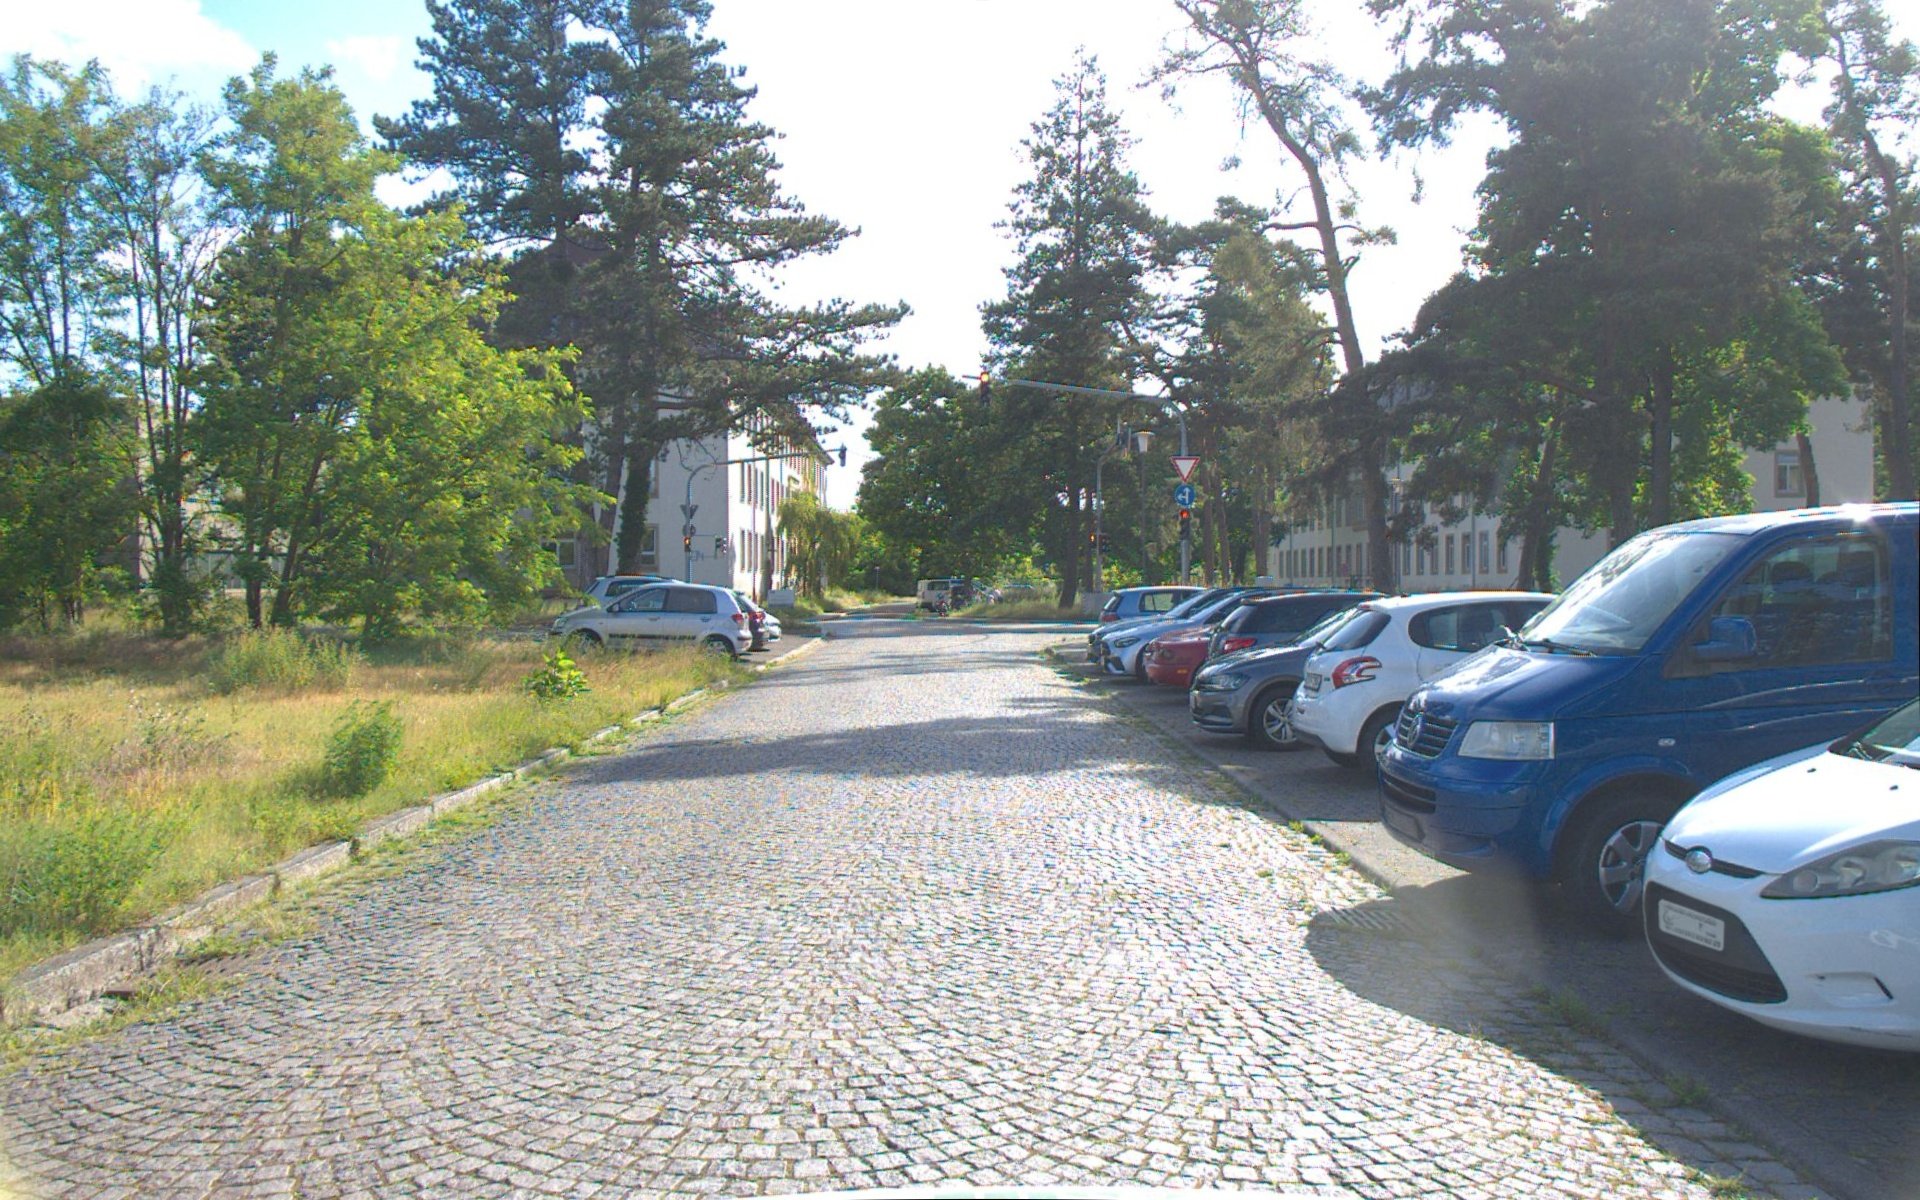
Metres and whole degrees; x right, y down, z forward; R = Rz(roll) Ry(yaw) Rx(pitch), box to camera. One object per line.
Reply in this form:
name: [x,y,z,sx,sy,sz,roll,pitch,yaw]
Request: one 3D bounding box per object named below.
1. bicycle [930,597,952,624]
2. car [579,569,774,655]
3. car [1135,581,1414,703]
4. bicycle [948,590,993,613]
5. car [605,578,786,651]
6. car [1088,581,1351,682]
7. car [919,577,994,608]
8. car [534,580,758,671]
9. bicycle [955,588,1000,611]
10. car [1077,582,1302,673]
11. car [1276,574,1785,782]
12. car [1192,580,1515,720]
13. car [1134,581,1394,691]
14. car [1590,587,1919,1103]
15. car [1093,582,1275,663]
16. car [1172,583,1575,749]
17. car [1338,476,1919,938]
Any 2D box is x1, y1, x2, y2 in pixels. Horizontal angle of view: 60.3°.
bicycle: [-0.902,0.478,77.620,0.789,1.190,2.177,-2,1,-7]
car: [-6.215,0.247,36.605,3.907,1.629,2.000,3,0,-2]
car: [4.161,0.525,22.222,3.408,1.556,1.645,0,1,-2]
bicycle: [0.518,0.066,81.104,2.134,1.119,0.805,0,0,-11]
car: [-6.182,0.326,39.007,3.906,1.478,2.000,3,1,-2]
car: [4.147,0.477,26.762,3.955,1.556,1.644,0,1,-5]
car: [-0.237,-0.449,98.561,4.390,1.758,2.000,0,0,-2]
car: [-5.858,0.449,31.223,3.908,1.628,1.999,0,1,-4]
bicycle: [0.857,-0.034,82.263,2.134,1.119,0.805,0,0,-11]
car: [4.055,0.472,29.532,3.758,1.556,1.645,0,1,-2]
car: [4.613,0.598,13.732,3.619,1.491,1.645,-2,0,0]
car: [4.575,0.555,19.538,3.408,1.556,1.645,0,1,-2]
car: [4.463,0.500,24.585,3.530,1.556,1.645,0,1,-2]
car: [4.374,0.706,5.872,3.645,1.514,1.644,-1,1,-3]
car: [4.312,0.419,32.176,3.276,1.508,1.645,0,1,-2]
car: [4.063,0.619,16.610,3.601,1.492,1.645,-1,1,-2]
car: [4.499,0.450,8.531,4.584,2.049,2.082,0,1,-4]
